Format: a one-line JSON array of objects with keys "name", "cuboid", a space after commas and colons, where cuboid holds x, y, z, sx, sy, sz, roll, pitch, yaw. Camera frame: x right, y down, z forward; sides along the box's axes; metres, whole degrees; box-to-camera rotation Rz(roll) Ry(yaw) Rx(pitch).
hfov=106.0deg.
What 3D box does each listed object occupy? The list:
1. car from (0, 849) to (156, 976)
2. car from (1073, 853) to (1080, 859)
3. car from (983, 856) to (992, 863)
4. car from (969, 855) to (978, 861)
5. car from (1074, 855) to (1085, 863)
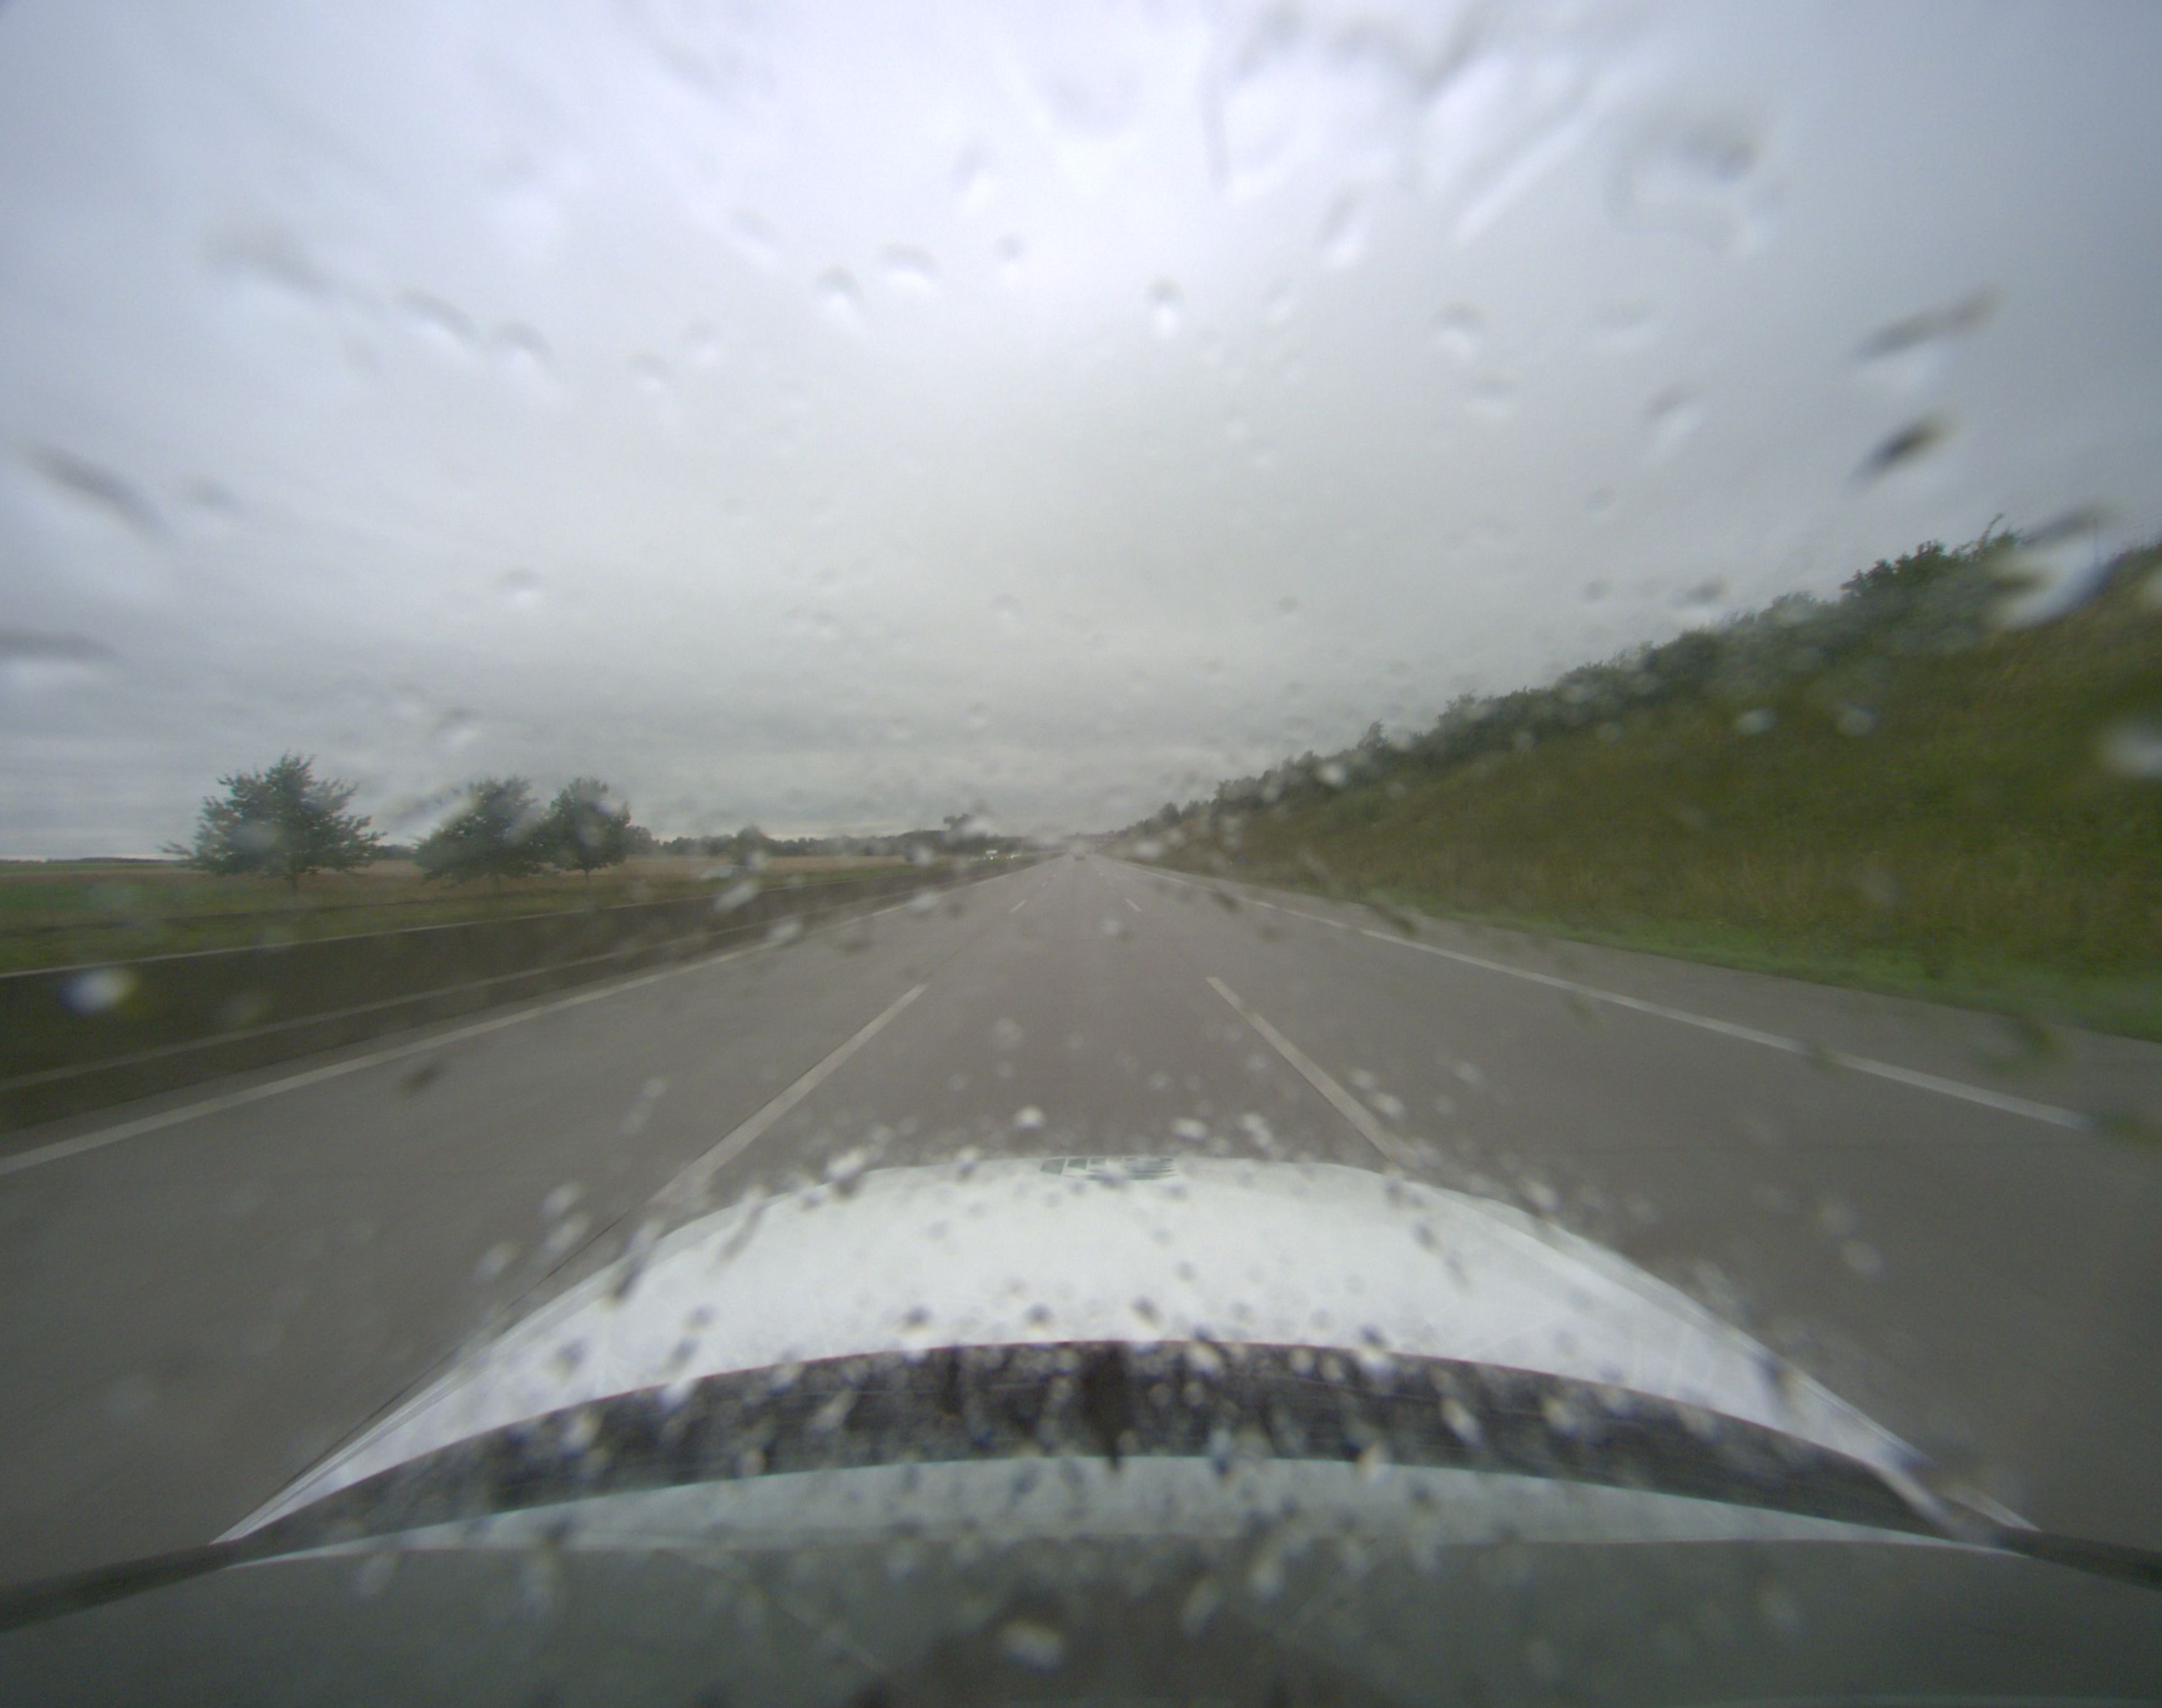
[{"name": "car", "cuboid": [-12.763, 0.639, 8.460, 1.667, 1.398, 4.064, 0, 0, -1]}, {"name": "car", "cuboid": [-1.023, 0.494, 189.082, 1.724, 1.331, 4.429, -1, 1, 0]}, {"name": "car", "cuboid": [-19.933, 1.165, 173.795, 1.667, 1.398, 4.064, -1, 0, -1]}, {"name": "car", "cuboid": [-25.954, 1.065, 197.031, 1.667, 1.398, 4.064, -1, 0, -1]}, {"name": "car", "cuboid": [-0.291, 0.935, 153.387, 1.842, 1.331, 4.428, -1, 1, -1]}]
